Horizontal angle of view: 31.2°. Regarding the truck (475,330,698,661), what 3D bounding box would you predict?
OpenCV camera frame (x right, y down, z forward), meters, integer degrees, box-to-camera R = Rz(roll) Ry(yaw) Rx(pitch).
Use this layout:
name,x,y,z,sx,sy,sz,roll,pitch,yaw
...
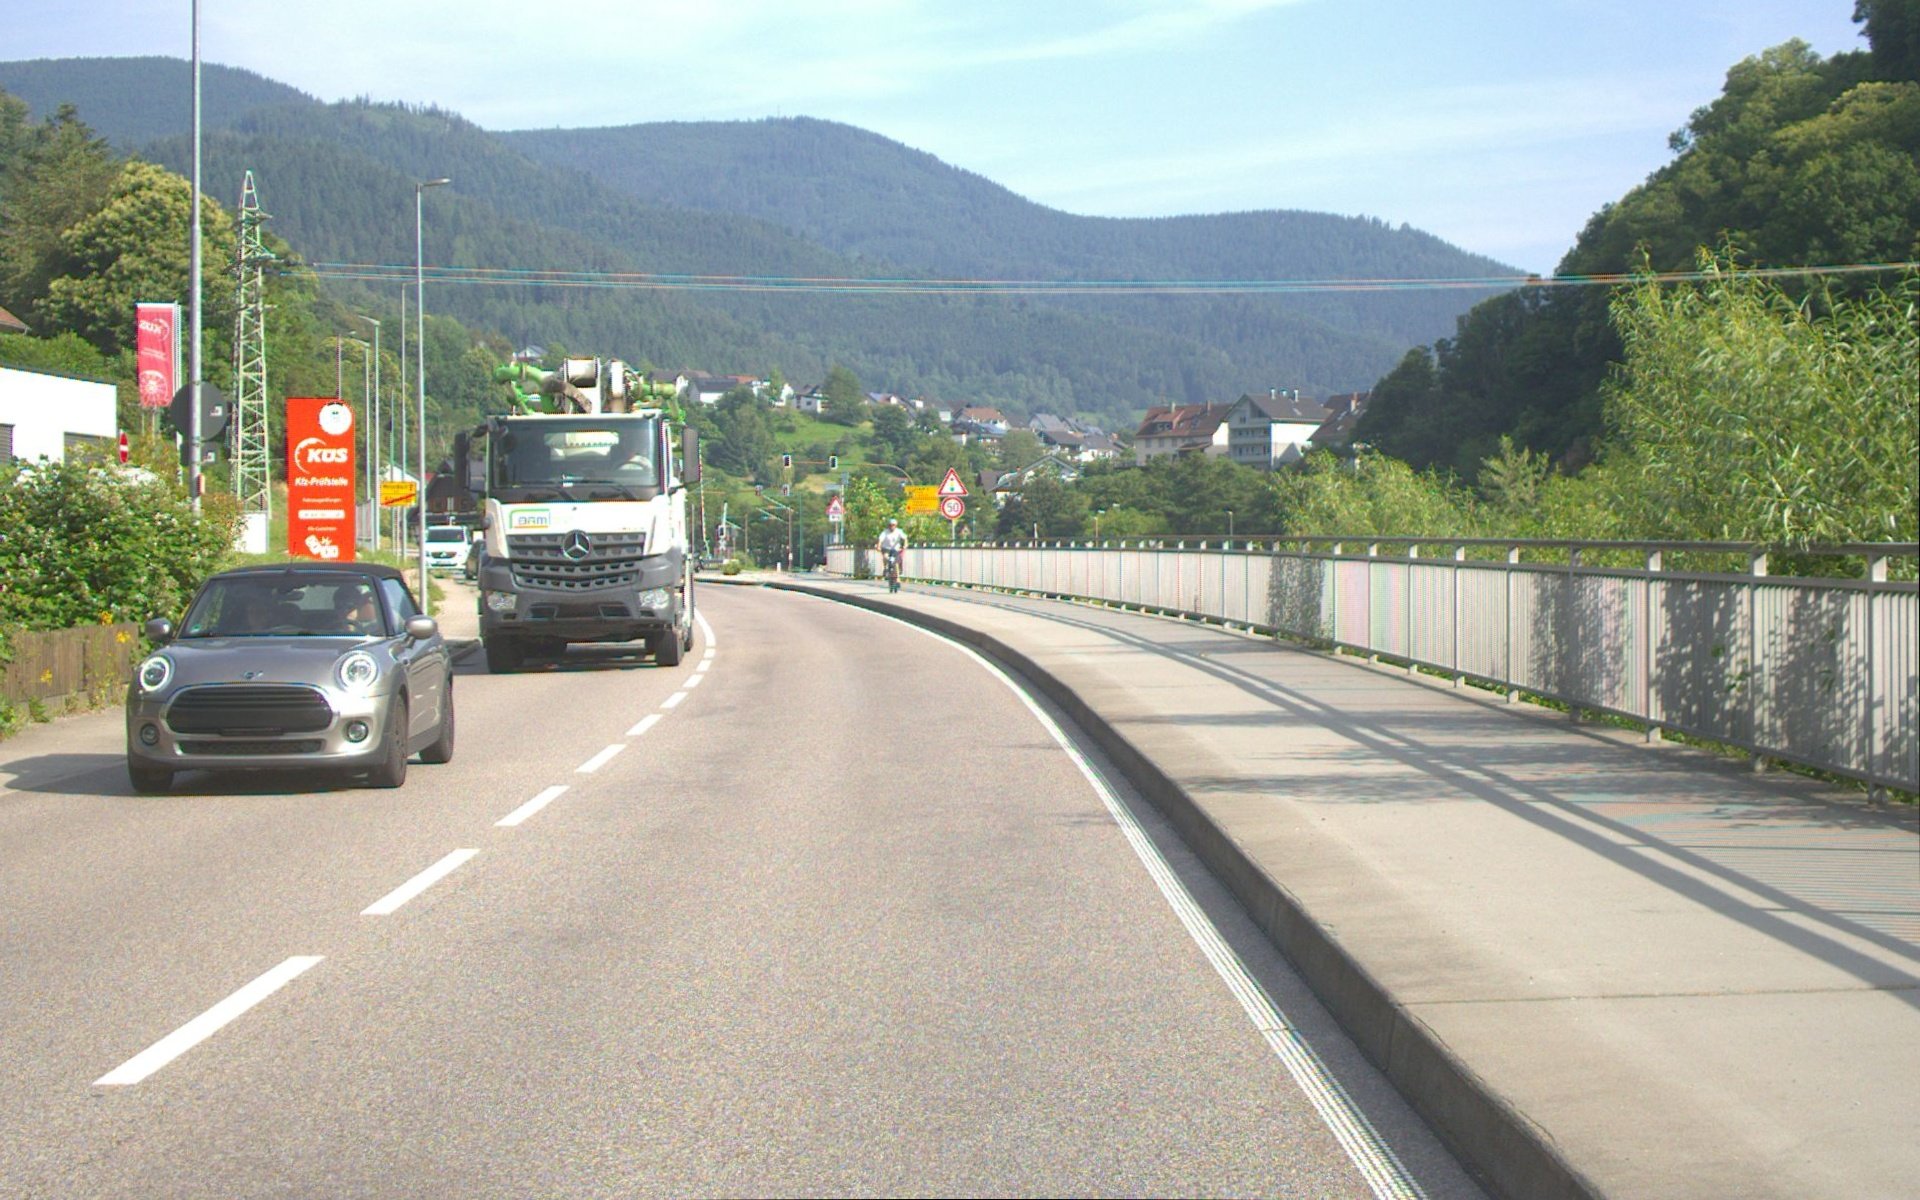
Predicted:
name,x,y,z,sx,sy,sz,roll,pitch,yaw
truck,-4.996,-1.325,46.658,2.577,3.918,11.308,-1,1,-6

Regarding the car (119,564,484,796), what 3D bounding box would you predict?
name,x,y,z,sx,sy,sz,roll,pitch,yaw
car,-4.273,0.472,22.856,1.713,1.398,4.000,0,0,-1
